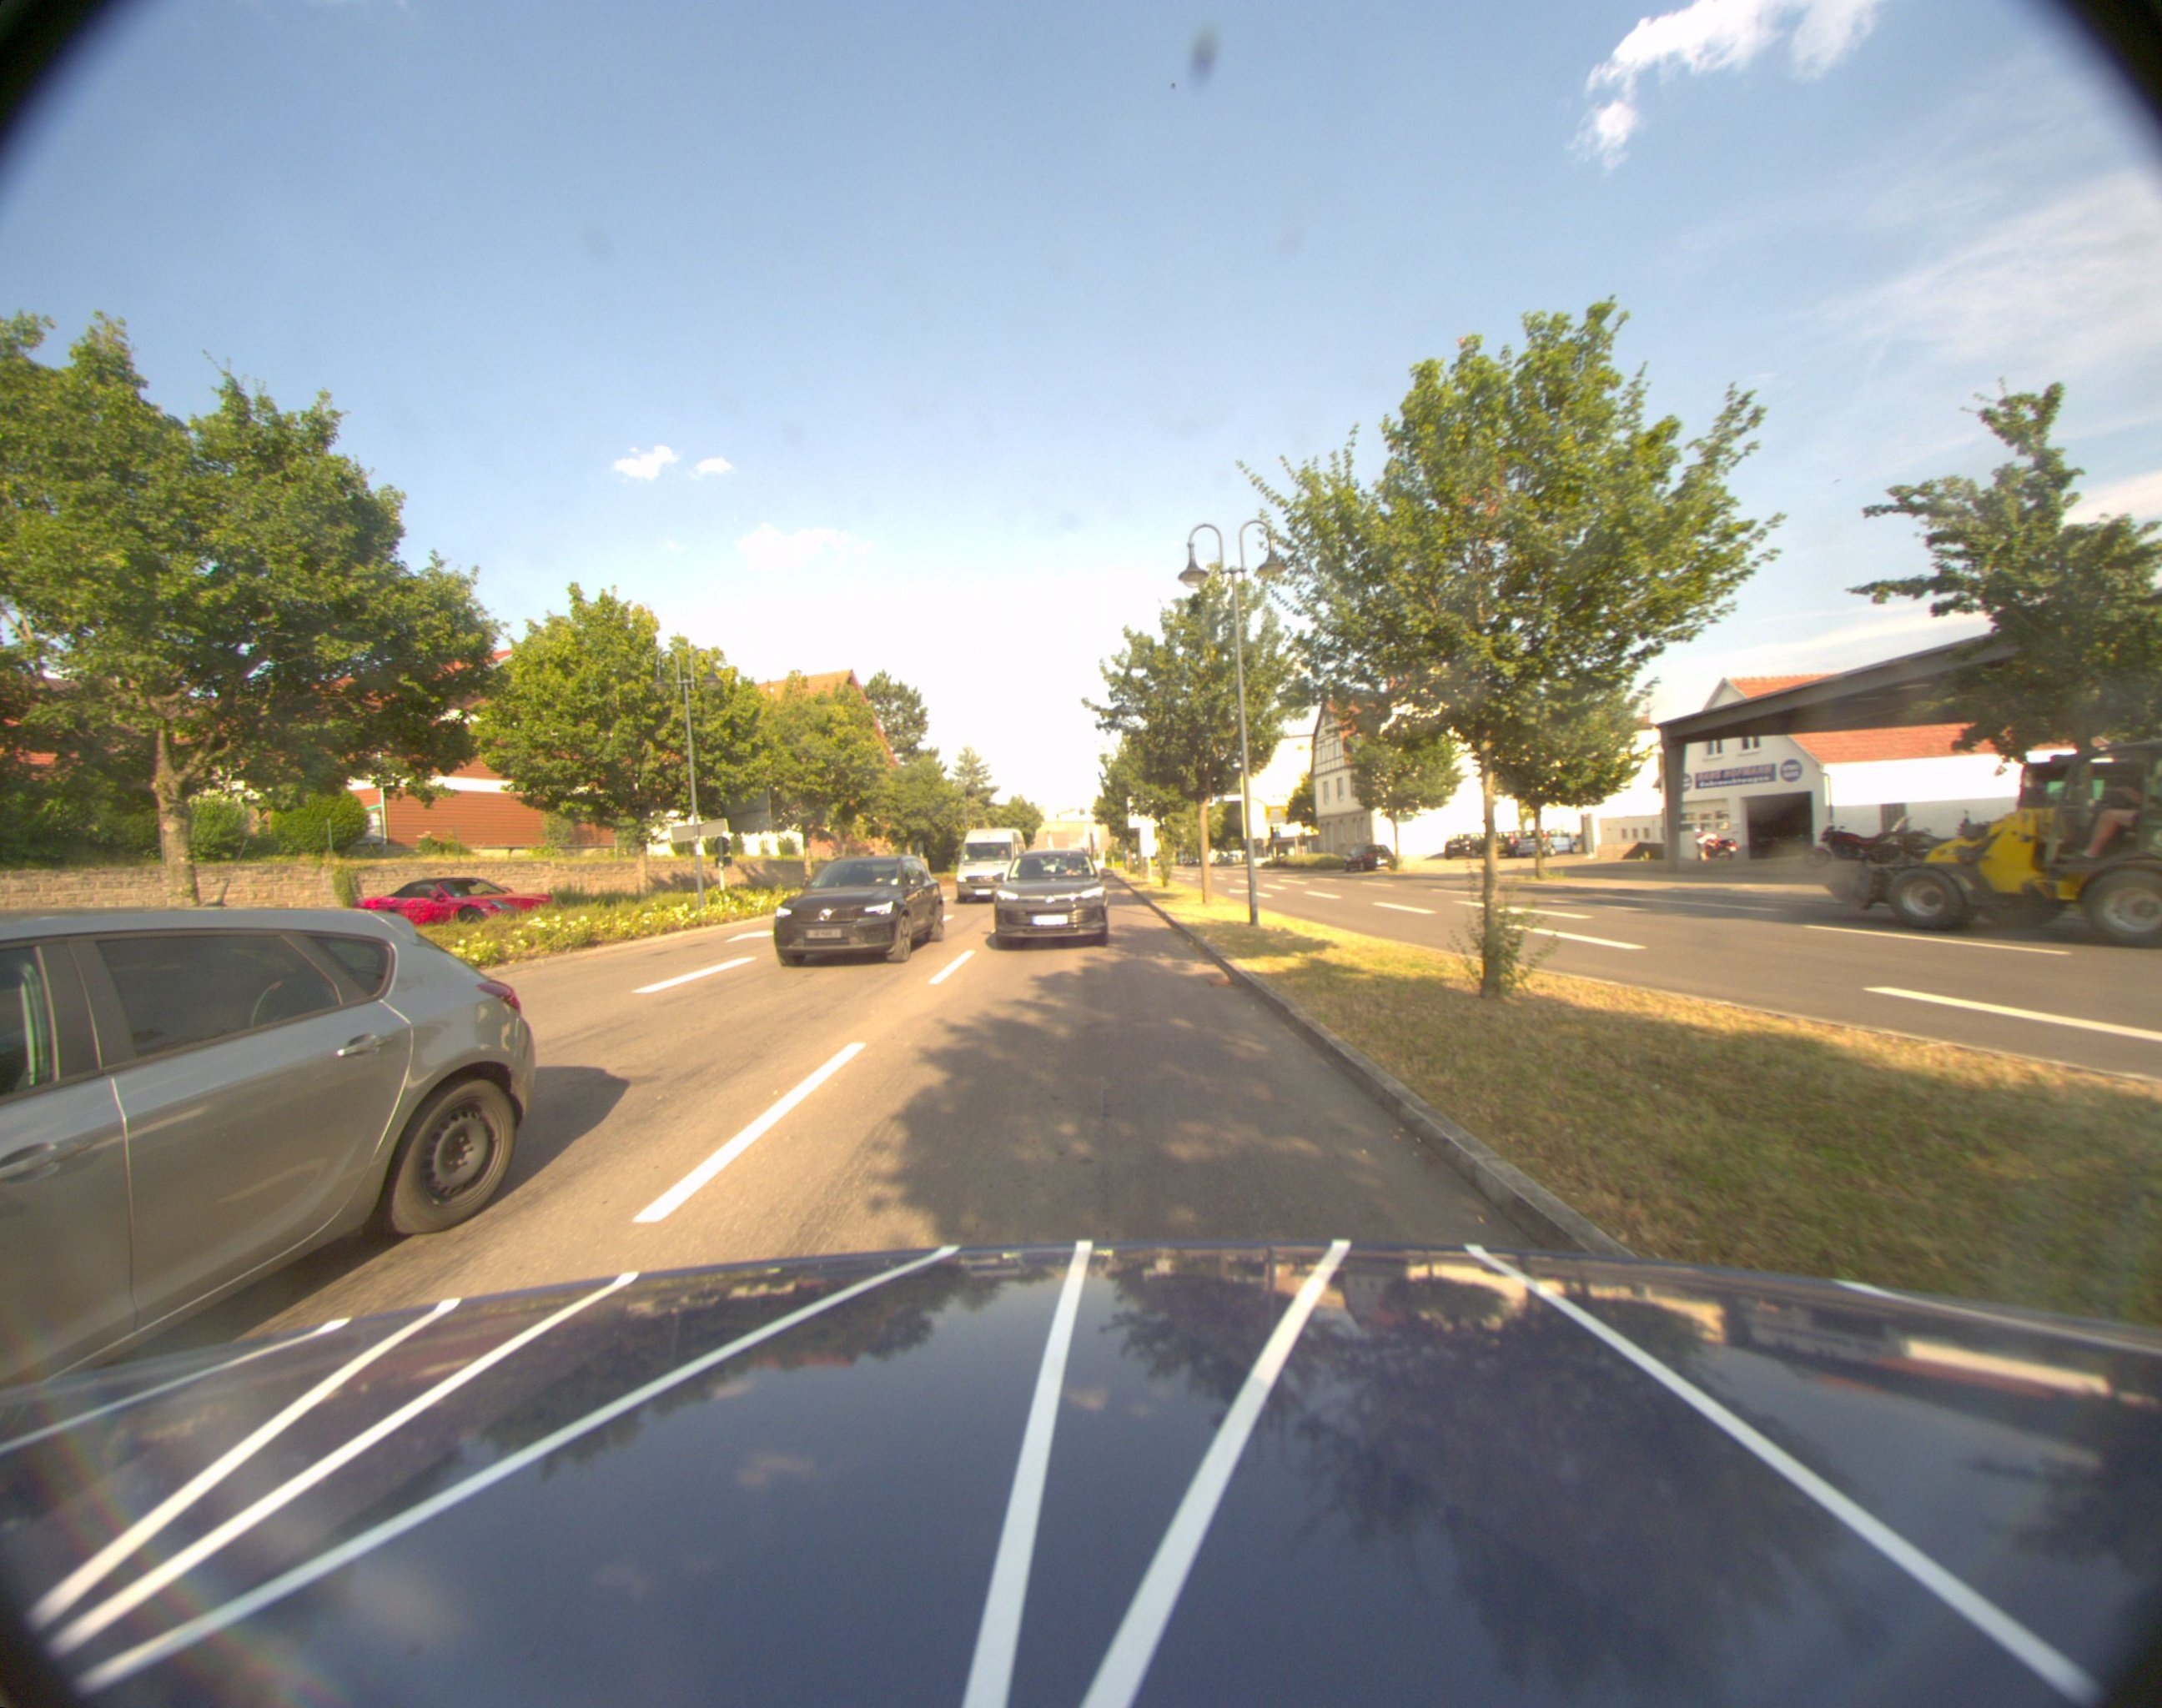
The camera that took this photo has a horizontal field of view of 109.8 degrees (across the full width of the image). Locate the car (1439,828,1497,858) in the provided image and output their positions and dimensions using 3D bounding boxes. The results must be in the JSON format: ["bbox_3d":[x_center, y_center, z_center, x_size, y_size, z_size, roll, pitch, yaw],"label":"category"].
[{"bbox_3d":[22.872,-0.641,44.833,3.416,1.616,1.857,-3,1,-41],"label":"car"}]

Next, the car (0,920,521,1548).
[{"bbox_3d":[-3.545,1.049,1.609,1.652,1.414,4.143,-1,0,-1],"label":"car"}]

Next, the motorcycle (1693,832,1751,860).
[{"bbox_3d":[27.710,-0.333,32.893,0.488,1.139,2.118,-3,0,-6],"label":"motorcycle"}]

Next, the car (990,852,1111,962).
[{"bbox_3d":[-0.437,0.803,13.615,1.768,1.582,4.056,-3,0,1],"label":"car"}]

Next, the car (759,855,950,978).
[{"bbox_3d":[-3.466,0.869,12.481,1.792,1.596,4.056,-2,0,1],"label":"car"}]

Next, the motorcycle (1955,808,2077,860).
[{"bbox_3d":[26.343,-0.543,21.468,0.489,1.315,2.114,-3,0,-40],"label":"motorcycle"}]

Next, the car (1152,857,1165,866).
[{"bbox_3d":[14.641,1.430,143.509,1.780,1.516,3.844,-2,0,18],"label":"car"}]

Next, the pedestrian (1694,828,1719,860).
[{"bbox_3d":[27.170,-0.426,33.009,0.596,1.332,0.584,-3,1,-7],"label":"pedestrian"}]

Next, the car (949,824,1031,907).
[{"bbox_3d":[-3.181,0.343,28.128,2.040,2.643,6.649,-2,1,1],"label":"car"}]

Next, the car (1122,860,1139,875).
[{"bbox_3d":[7.119,1.925,108.964,1.815,1.861,4.003,-2,0,10],"label":"car"}]

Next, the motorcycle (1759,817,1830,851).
[{"bbox_3d":[30.355,-0.820,32.361,2.114,1.315,0.489,-3,0,22],"label":"motorcycle"}]

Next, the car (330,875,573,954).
[{"bbox_3d":[-13.465,1.283,16.373,3.994,1.422,1.749,-2,1,9],"label":"car"}]

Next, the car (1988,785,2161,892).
[{"bbox_3d":[30.540,-0.470,21.544,2.681,2.942,5.788,-3,0,-32],"label":"car"}]

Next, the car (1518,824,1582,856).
[{"bbox_3d":[24.662,-0.746,39.924,3.437,1.534,1.617,-2,0,-35],"label":"car"}]

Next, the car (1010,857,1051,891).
[{"bbox_3d":[-2.655,1.011,40.592,1.768,1.582,4.056,-3,0,1],"label":"car"}]

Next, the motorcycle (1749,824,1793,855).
[{"bbox_3d":[31.449,-0.664,34.619,2.120,1.315,0.488,-3,0,-19],"label":"motorcycle"}]

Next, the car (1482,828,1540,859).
[{"bbox_3d":[24.176,-0.601,42.688,3.437,1.555,1.583,-3,1,-38],"label":"car"}]

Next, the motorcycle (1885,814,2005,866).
[{"bbox_3d":[24.058,-0.362,21.208,0.489,1.315,2.114,-3,0,-32],"label":"motorcycle"}]

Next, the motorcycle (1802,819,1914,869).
[{"bbox_3d":[21.830,-0.251,21.409,0.489,1.315,2.114,-3,0,-30],"label":"motorcycle"}]

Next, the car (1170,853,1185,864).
[{"bbox_3d":[19.578,0.849,154.181,1.995,2.002,4.005,-2,1,22],"label":"car"}]

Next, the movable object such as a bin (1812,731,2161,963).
[{"bbox_3d":[12.236,-0.110,9.476,1.556,2.447,4.978,-2,1,2],"label":"movable object such as a bin"}]

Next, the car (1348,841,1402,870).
[{"bbox_3d":[15.846,0.064,41.112,1.672,1.310,3.432,-6,0,4],"label":"car"}]
